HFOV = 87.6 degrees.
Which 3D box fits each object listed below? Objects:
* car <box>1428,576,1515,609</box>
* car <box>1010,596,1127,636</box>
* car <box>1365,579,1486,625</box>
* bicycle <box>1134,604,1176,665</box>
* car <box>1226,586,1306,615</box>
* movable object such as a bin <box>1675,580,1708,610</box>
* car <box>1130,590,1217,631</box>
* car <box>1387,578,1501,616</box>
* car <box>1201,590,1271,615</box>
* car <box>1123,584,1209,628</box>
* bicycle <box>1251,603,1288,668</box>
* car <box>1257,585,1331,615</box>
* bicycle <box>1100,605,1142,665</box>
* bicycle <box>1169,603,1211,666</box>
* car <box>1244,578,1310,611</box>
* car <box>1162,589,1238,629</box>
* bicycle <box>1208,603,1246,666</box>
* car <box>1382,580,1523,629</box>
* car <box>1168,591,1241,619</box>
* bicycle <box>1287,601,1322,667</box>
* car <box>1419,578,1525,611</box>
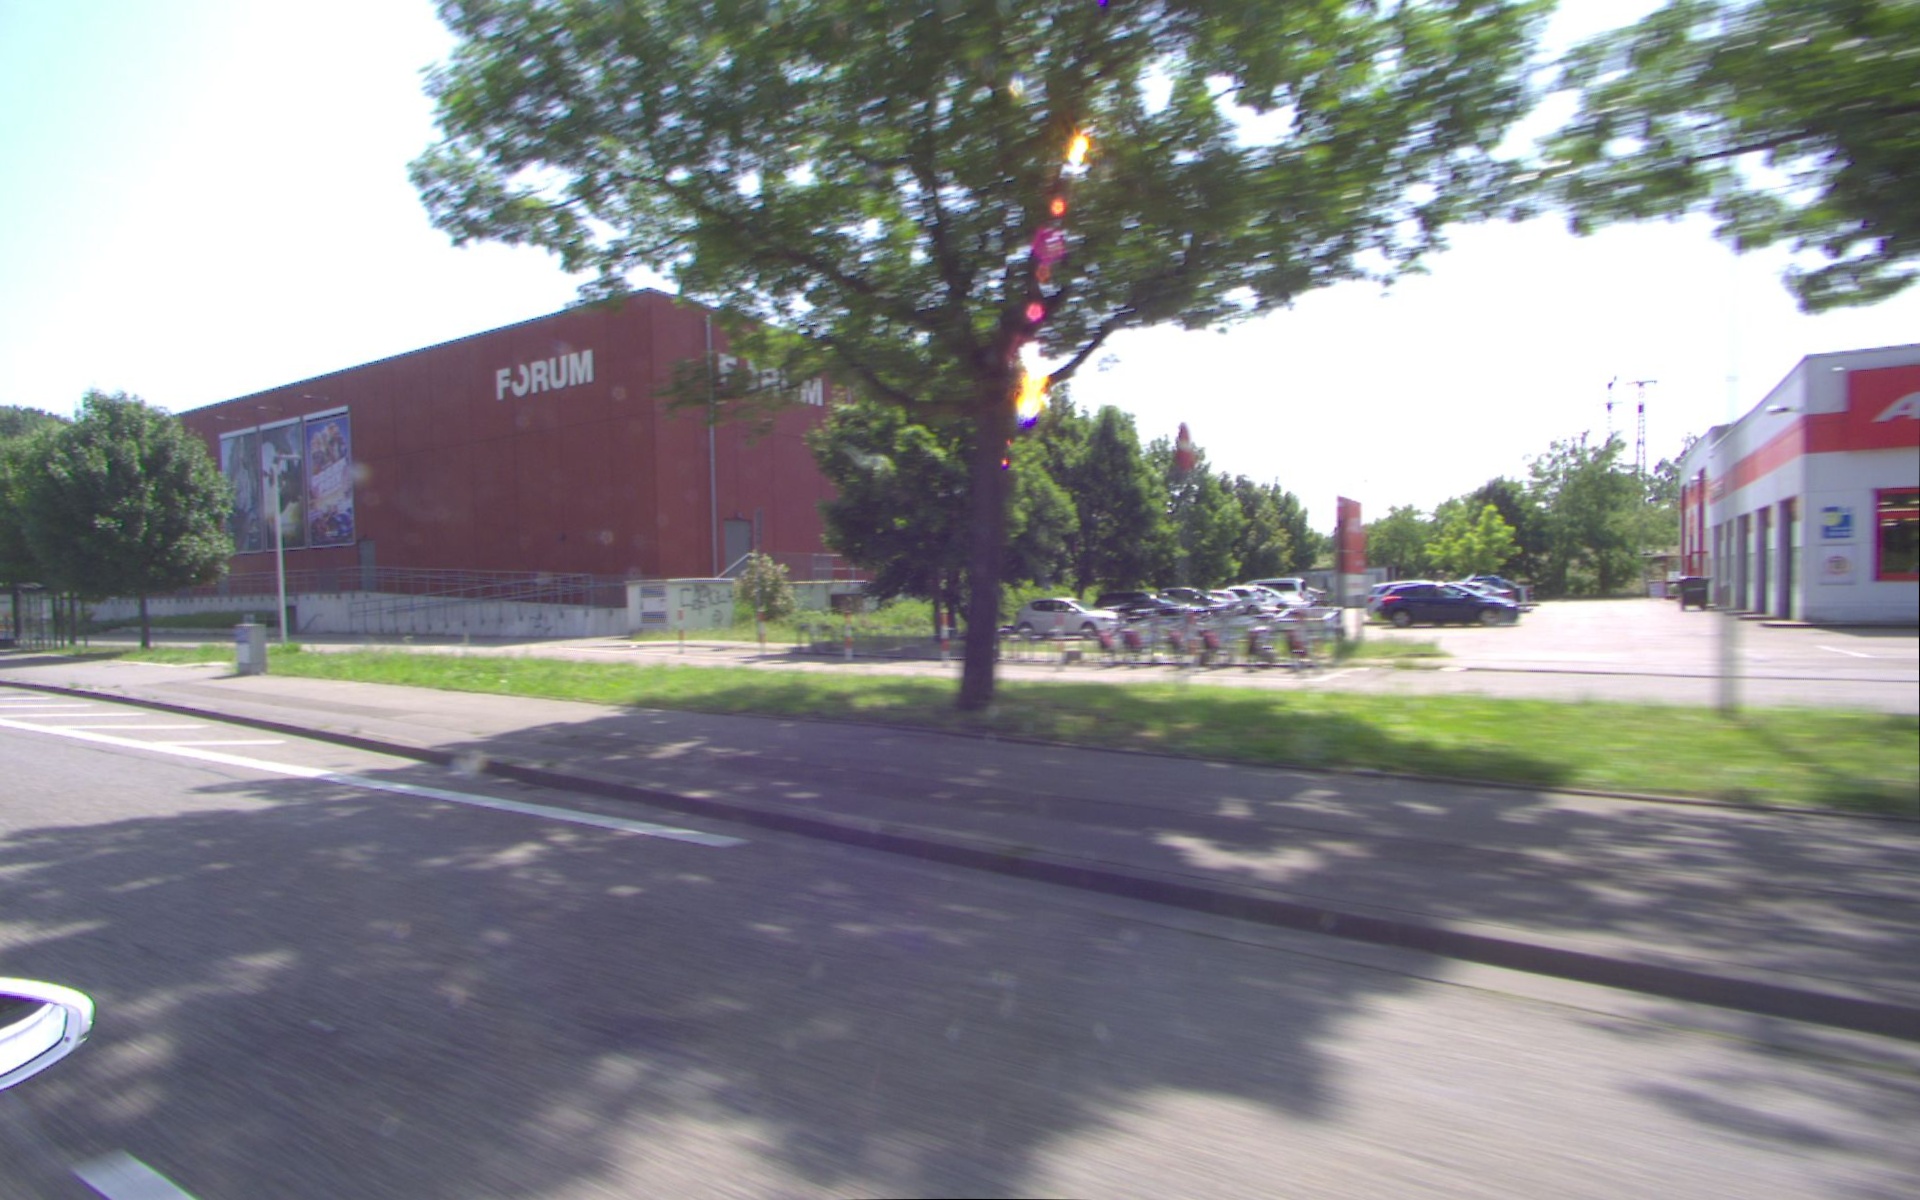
[{"bbox_3d":[27.028,-0.390,52.945,3.943,1.684,1.693,-1,1,33],"label":"car"},{"bbox_3d":[3.737,0.538,34.726,3.818,1.307,1.408,-1,1,34],"label":"car"},{"bbox_3d":[17.469,0.071,37.647,3.943,1.641,1.706,-1,1,33],"label":"car"},{"bbox_3d":[3.697,0.640,18.935,0.401,1.099,1.085,0,1,33],"label":"bicycle"},{"bbox_3d":[16.817,0.013,55.110,3.943,1.528,1.644,-1,1,33],"label":"car"},{"bbox_3d":[29.318,-0.205,40.149,0.915,1.190,1.805,0,1,32],"label":"movable object such as a bin"},{"bbox_3d":[9.181,0.450,43.082,3.321,1.662,1.562,-1,1,36],"label":"car"},{"bbox_3d":[19.166,-0.117,39.689,3.943,1.439,1.706,-1,1,33],"label":"car"},{"bbox_3d":[14.783,0.137,53.642,3.320,1.307,1.563,-1,1,35],"label":"car"},{"bbox_3d":[8.316,0.247,40.363,3.147,1.721,1.405,-1,1,26],"label":"car"},{"bbox_3d":[5.481,0.611,17.719,0.342,1.099,1.085,0,1,33],"label":"bicycle"},{"bbox_3d":[20.490,0.040,61.475,3.943,1.728,1.989,-1,0,32],"label":"car"},{"bbox_3d":[3.115,0.655,19.358,0.401,1.099,1.085,0,1,33],"label":"bicycle"},{"bbox_3d":[4.279,0.625,18.578,0.401,1.099,1.085,0,1,33],"label":"bicycle"},{"bbox_3d":[18.074,-0.275,57.132,3.316,1.818,1.565,0,0,32],"label":"car"},{"bbox_3d":[11.289,0.431,47.088,3.307,1.818,1.569,-1,1,21],"label":"car"},{"bbox_3d":[4.854,0.610,18.184,0.342,1.099,1.085,0,1,33],"label":"bicycle"},{"bbox_3d":[16.442,0.172,33.498,4.091,1.505,1.742,-1,0,32],"label":"car"},{"bbox_3d":[12.062,0.255,49.349,3.307,1.307,1.569,-1,1,21],"label":"car"},{"bbox_3d":[6.041,0.579,17.537,0.342,1.099,1.085,0,1,33],"label":"bicycle"},{"bbox_3d":[21.956,-0.238,42.979,3.943,1.338,1.706,-1,1,33],"label":"car"}]
